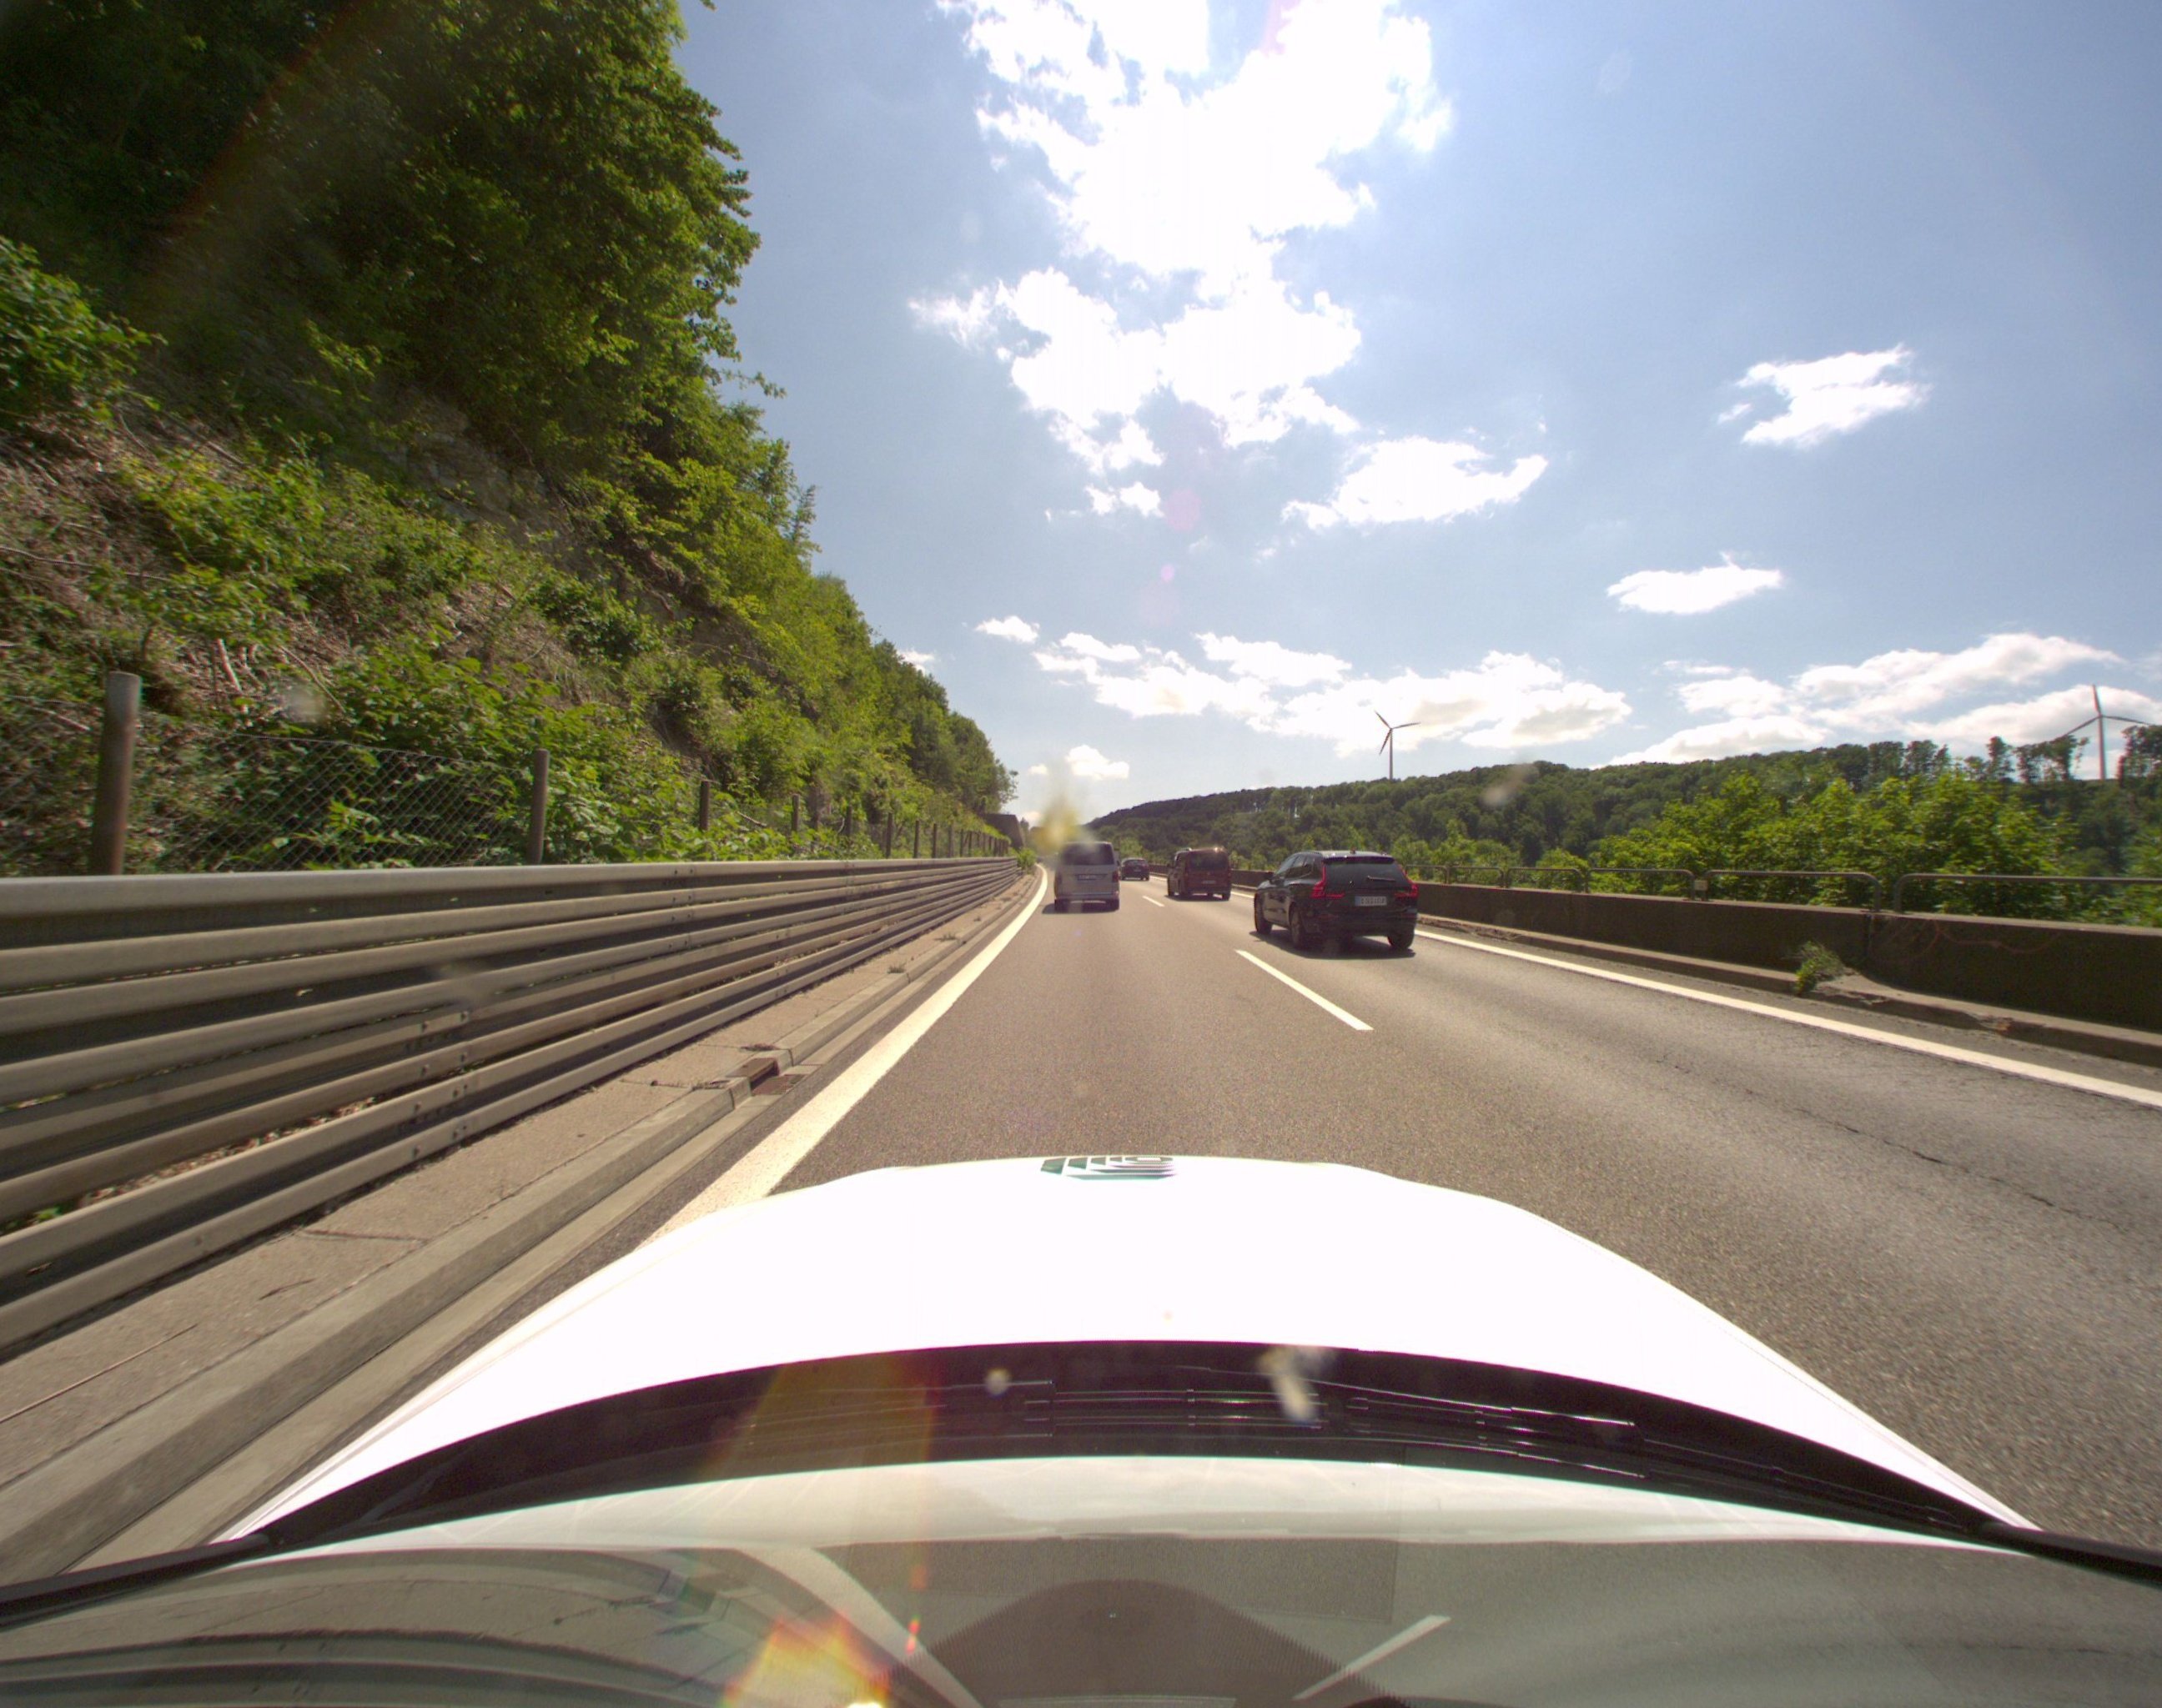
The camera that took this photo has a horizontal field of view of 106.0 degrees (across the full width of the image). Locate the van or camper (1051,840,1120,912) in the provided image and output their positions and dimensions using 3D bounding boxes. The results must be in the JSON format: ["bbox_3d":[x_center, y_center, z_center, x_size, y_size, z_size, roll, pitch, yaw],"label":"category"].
[{"bbox_3d":[0.149,0.636,24.637,1.869,1.949,4.293,-1,-1,0],"label":"van or camper"}]

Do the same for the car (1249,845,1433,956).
[{"bbox_3d":[4.396,0.728,14.588,1.828,1.633,4.662,-1,-1,1],"label":"car"}]

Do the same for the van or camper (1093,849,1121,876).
[{"bbox_3d":[2.504,0.803,79.882,2.260,2.551,4.729,-1,0,-4],"label":"van or camper"}]

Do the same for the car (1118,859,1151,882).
[{"bbox_3d":[3.470,1.031,53.236,1.764,1.375,3.590,-3,0,-2],"label":"car"}]

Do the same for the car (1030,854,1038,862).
[{"bbox_3d":[-10.386,0.797,179.414,1.842,1.750,3.995,0,0,-3],"label":"car"}]

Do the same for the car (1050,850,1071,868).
[{"bbox_3d":[-2.206,0.535,86.531,1.990,1.817,3.993,0,0,-5],"label":"car"}]

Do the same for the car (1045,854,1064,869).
[{"bbox_3d":[-3.367,0.925,102.616,1.992,1.915,3.990,0,0,-7],"label":"car"}]

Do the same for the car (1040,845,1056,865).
[{"bbox_3d":[-8.599,0.300,212.630,4.034,4.871,10.097,-1,0,-3],"label":"car"}]

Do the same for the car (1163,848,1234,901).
[{"bbox_3d":[4.296,0.724,30.428,1.828,1.784,4.673,-1,-1,-1],"label":"car"}]

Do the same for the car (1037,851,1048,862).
[{"bbox_3d":[-7.604,0.552,161.279,1.988,2.014,3.996,-1,-1,-2],"label":"car"}]

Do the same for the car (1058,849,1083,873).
[{"bbox_3d":[-0.856,0.611,69.986,1.987,2.014,3.999,-1,-1,0],"label":"car"}]

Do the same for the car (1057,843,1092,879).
[{"bbox_3d":[-0.332,0.421,48.678,1.987,2.014,4.000,-1,-1,1],"label":"car"}]
